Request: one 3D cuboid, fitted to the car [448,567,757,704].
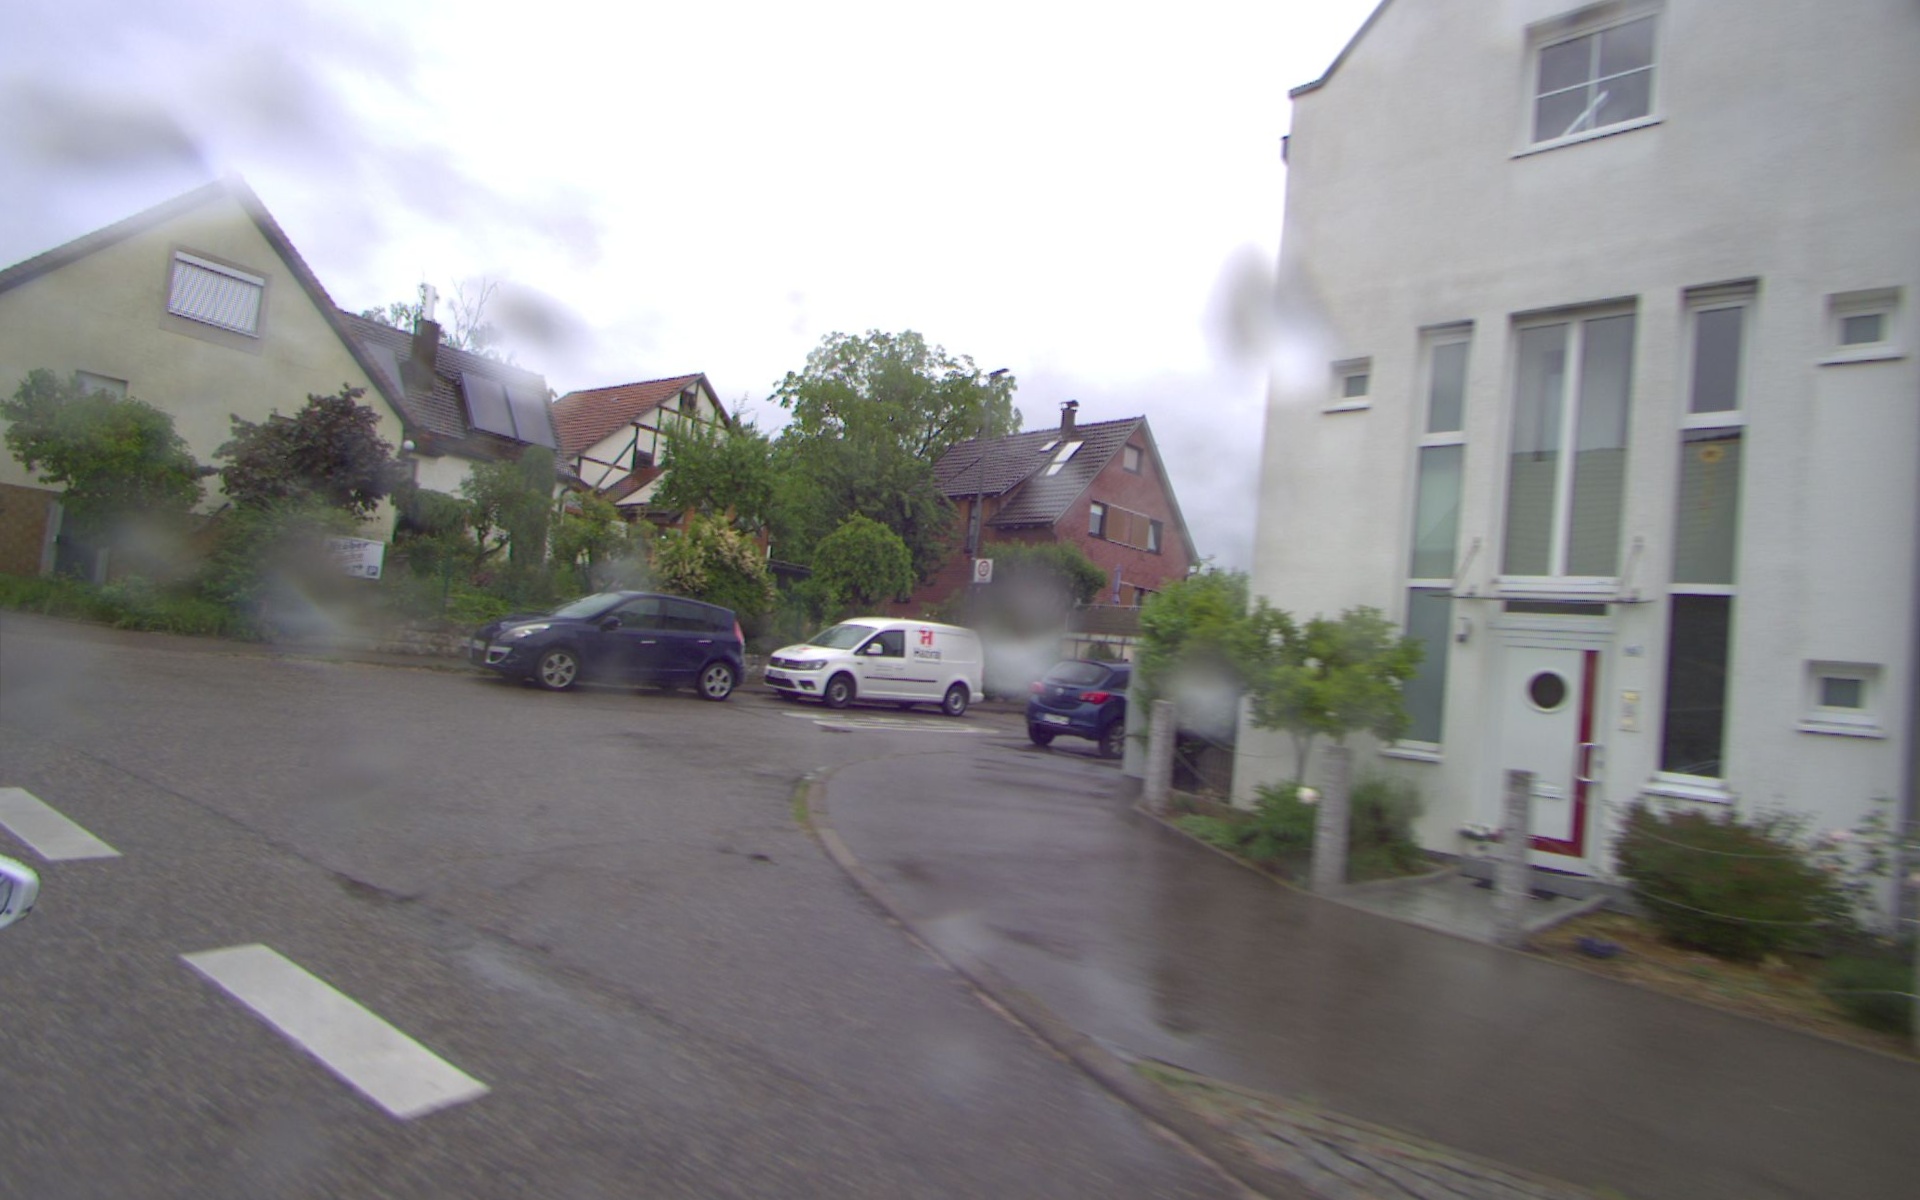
[{"bbox_3d":[-5.579,0.619,16.052,1.841,1.602,4.126,5,-4,45],"label":"car"}]

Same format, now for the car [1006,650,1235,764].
[{"bbox_3d":[2.723,1.796,16.554,1.781,1.422,3.717,5,-4,45],"label":"car"}]

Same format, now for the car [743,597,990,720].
[{"bbox_3d":[-1.722,1.212,19.899,1.781,1.823,4.678,5,-4,45],"label":"car"}]

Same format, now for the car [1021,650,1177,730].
[{"bbox_3d":[3.544,2.284,25.188,1.724,1.524,3.925,5,-4,45],"label":"car"}]
